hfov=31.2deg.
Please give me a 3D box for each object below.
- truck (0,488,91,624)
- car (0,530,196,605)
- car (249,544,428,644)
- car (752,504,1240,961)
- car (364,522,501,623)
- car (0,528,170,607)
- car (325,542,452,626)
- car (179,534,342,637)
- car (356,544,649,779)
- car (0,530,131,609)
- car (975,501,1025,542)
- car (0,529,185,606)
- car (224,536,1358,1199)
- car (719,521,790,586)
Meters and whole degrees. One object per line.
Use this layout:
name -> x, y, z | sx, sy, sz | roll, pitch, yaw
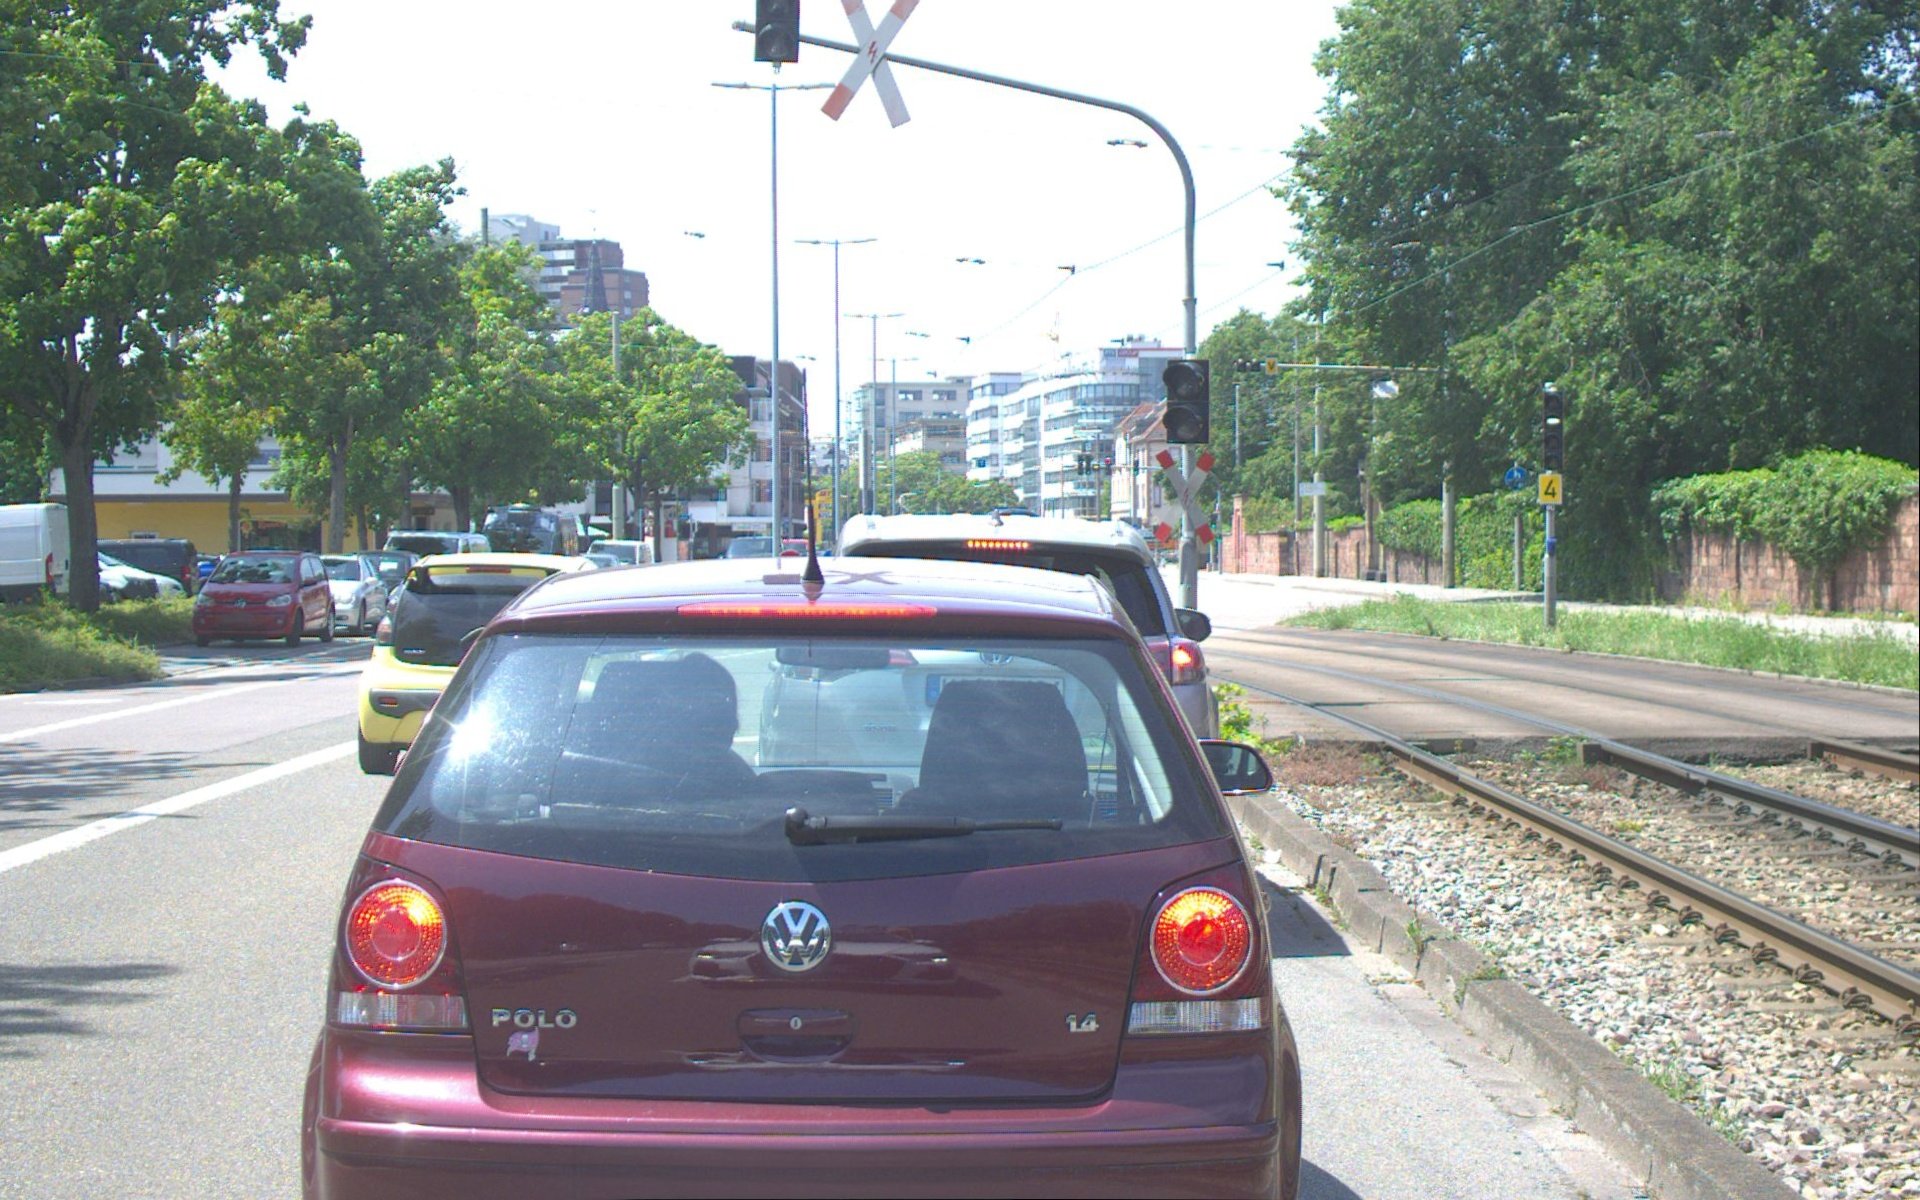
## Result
truck -> -21.103, -0.898, 71.164 | 5.578, 2.750, 2.432 | -1, 1, 1
car -> -21.735, -0.828, 86.255 | 4.718, 1.807, 1.797 | -1, 1, -1
car -> -10.971, -0.144, 61.015 | 1.719, 1.422, 4.770 | -7, 1, 6
car -> 0.112, 0.455, 14.799 | 1.795, 1.677, 4.000 | 1, 1, -1
car -> -10.888, -0.595, 71.264 | 1.863, 1.930, 4.805 | 3, 1, 2
car -> -21.398, -0.772, 81.899 | 4.718, 1.807, 1.797 | -1, 1, -1
car -> -10.944, -0.335, 65.997 | 1.614, 1.479, 3.784 | 3, 1, 2
car -> -10.998, -0.238, 54.266 | 1.672, 1.541, 3.726 | 1, 1, 2
car -> -3.023, 0.358, 23.277 | 1.551, 1.443, 3.412 | 1, 1, -1
car -> -21.503, -0.708, 79.484 | 4.209, 1.759, 1.857 | -1, 1, -1
car -> 1.883, -3.754, 164.055 | 1.918, 1.904, 4.572 | -1, 1, -5
car -> -21.529, -0.802, 84.127 | 4.718, 1.807, 1.797 | -1, 1, -1
car -> -0.268, 0.630, 6.920 | 1.609, 1.493, 4.000 | 1, 1, -1
car -> -6.294, -1.444, 105.790 | 1.918, 1.904, 4.571 | -2, 1, -1
